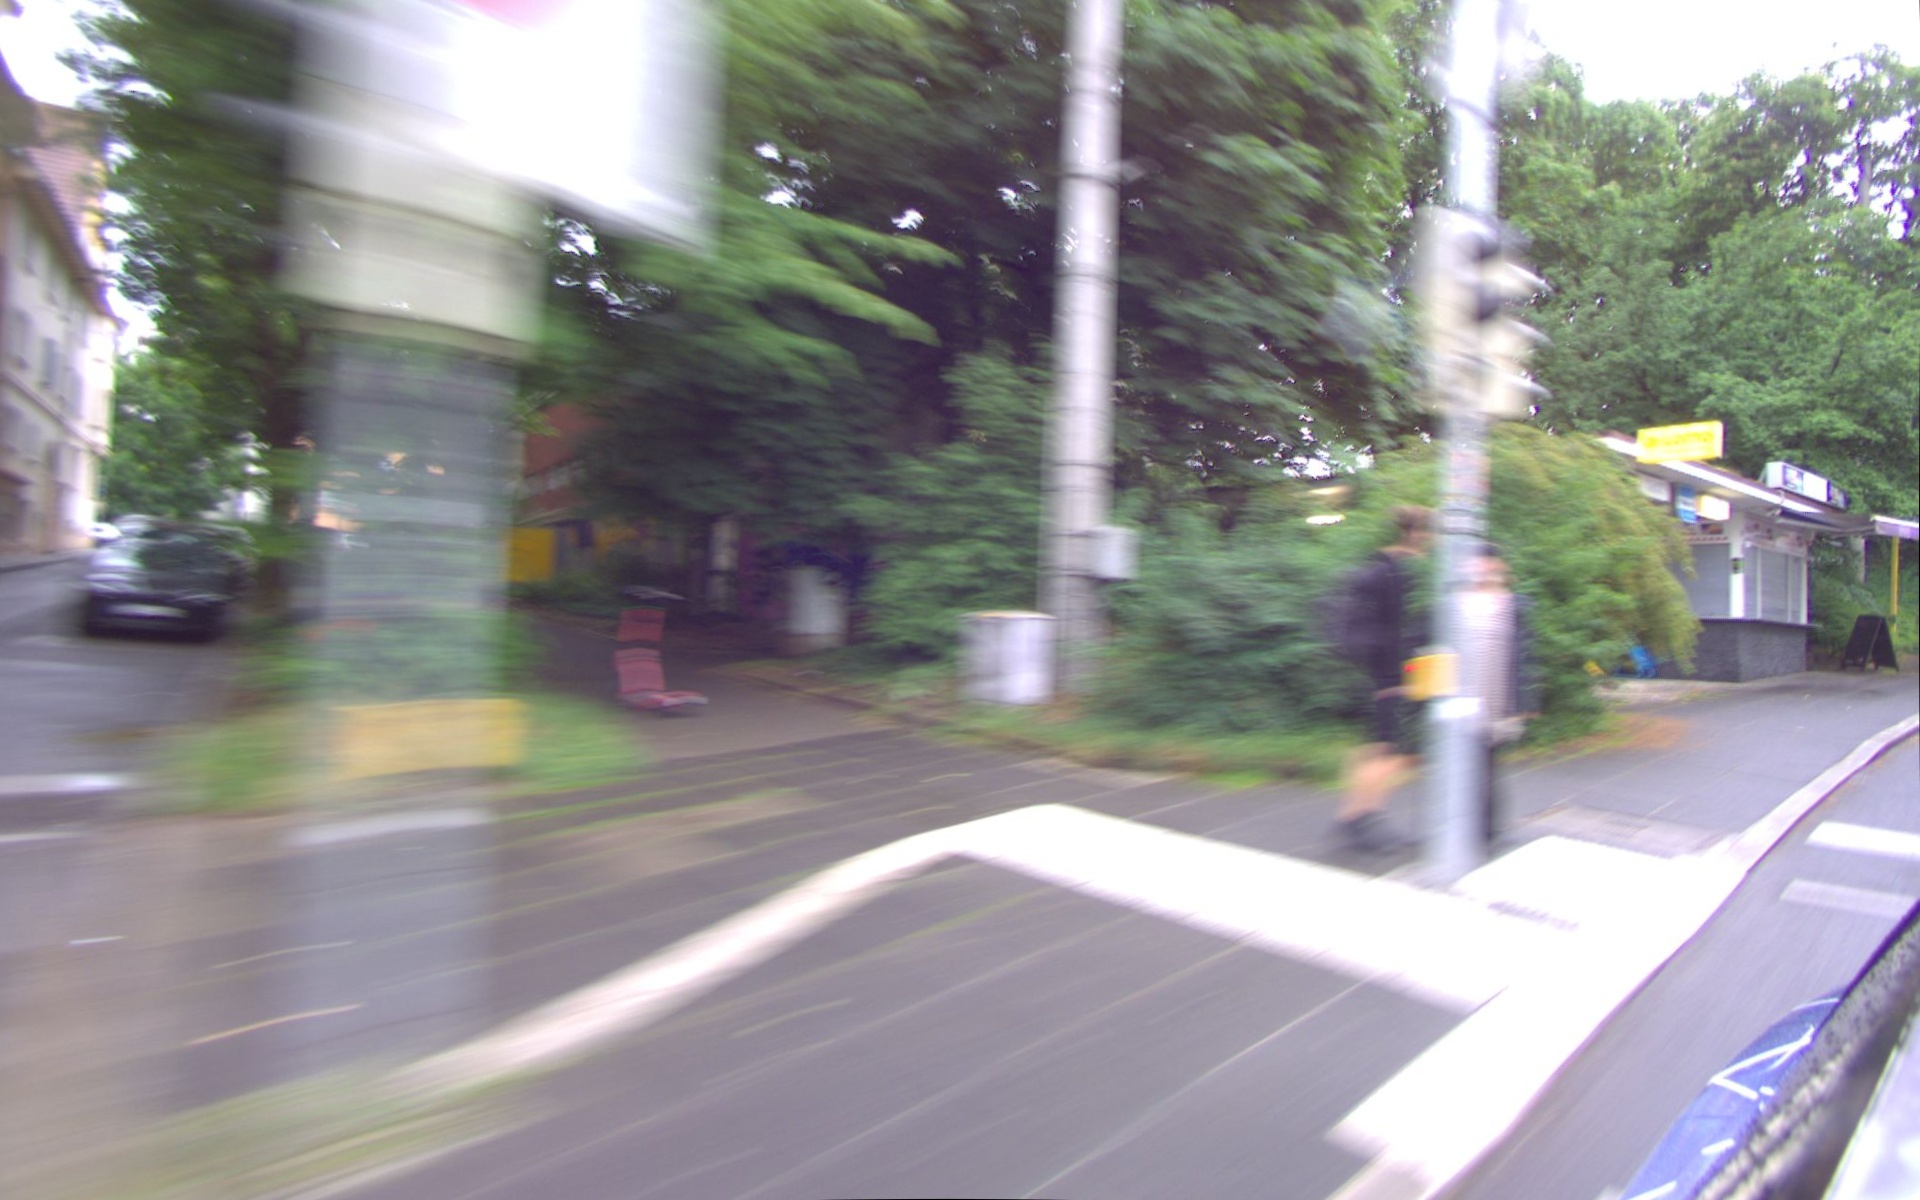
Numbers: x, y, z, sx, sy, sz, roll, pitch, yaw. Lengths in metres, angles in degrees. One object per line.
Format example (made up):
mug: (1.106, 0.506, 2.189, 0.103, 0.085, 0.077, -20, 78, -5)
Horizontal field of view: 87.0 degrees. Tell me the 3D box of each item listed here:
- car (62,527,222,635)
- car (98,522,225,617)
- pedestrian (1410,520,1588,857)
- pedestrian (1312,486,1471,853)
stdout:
car: (-12.721, -0.380, 15.816, 1.749, 1.437, 3.998, -1, 4, -39)
car: (-16.085, -0.662, 20.396, 1.833, 1.710, 4.325, -1, 3, -39)
pedestrian: (2.974, 0.446, 5.601, 0.545, 1.716, 0.697, 0, 0, -36)
pedestrian: (2.339, 0.342, 5.488, 0.639, 1.836, 0.555, 0, 0, -38)
